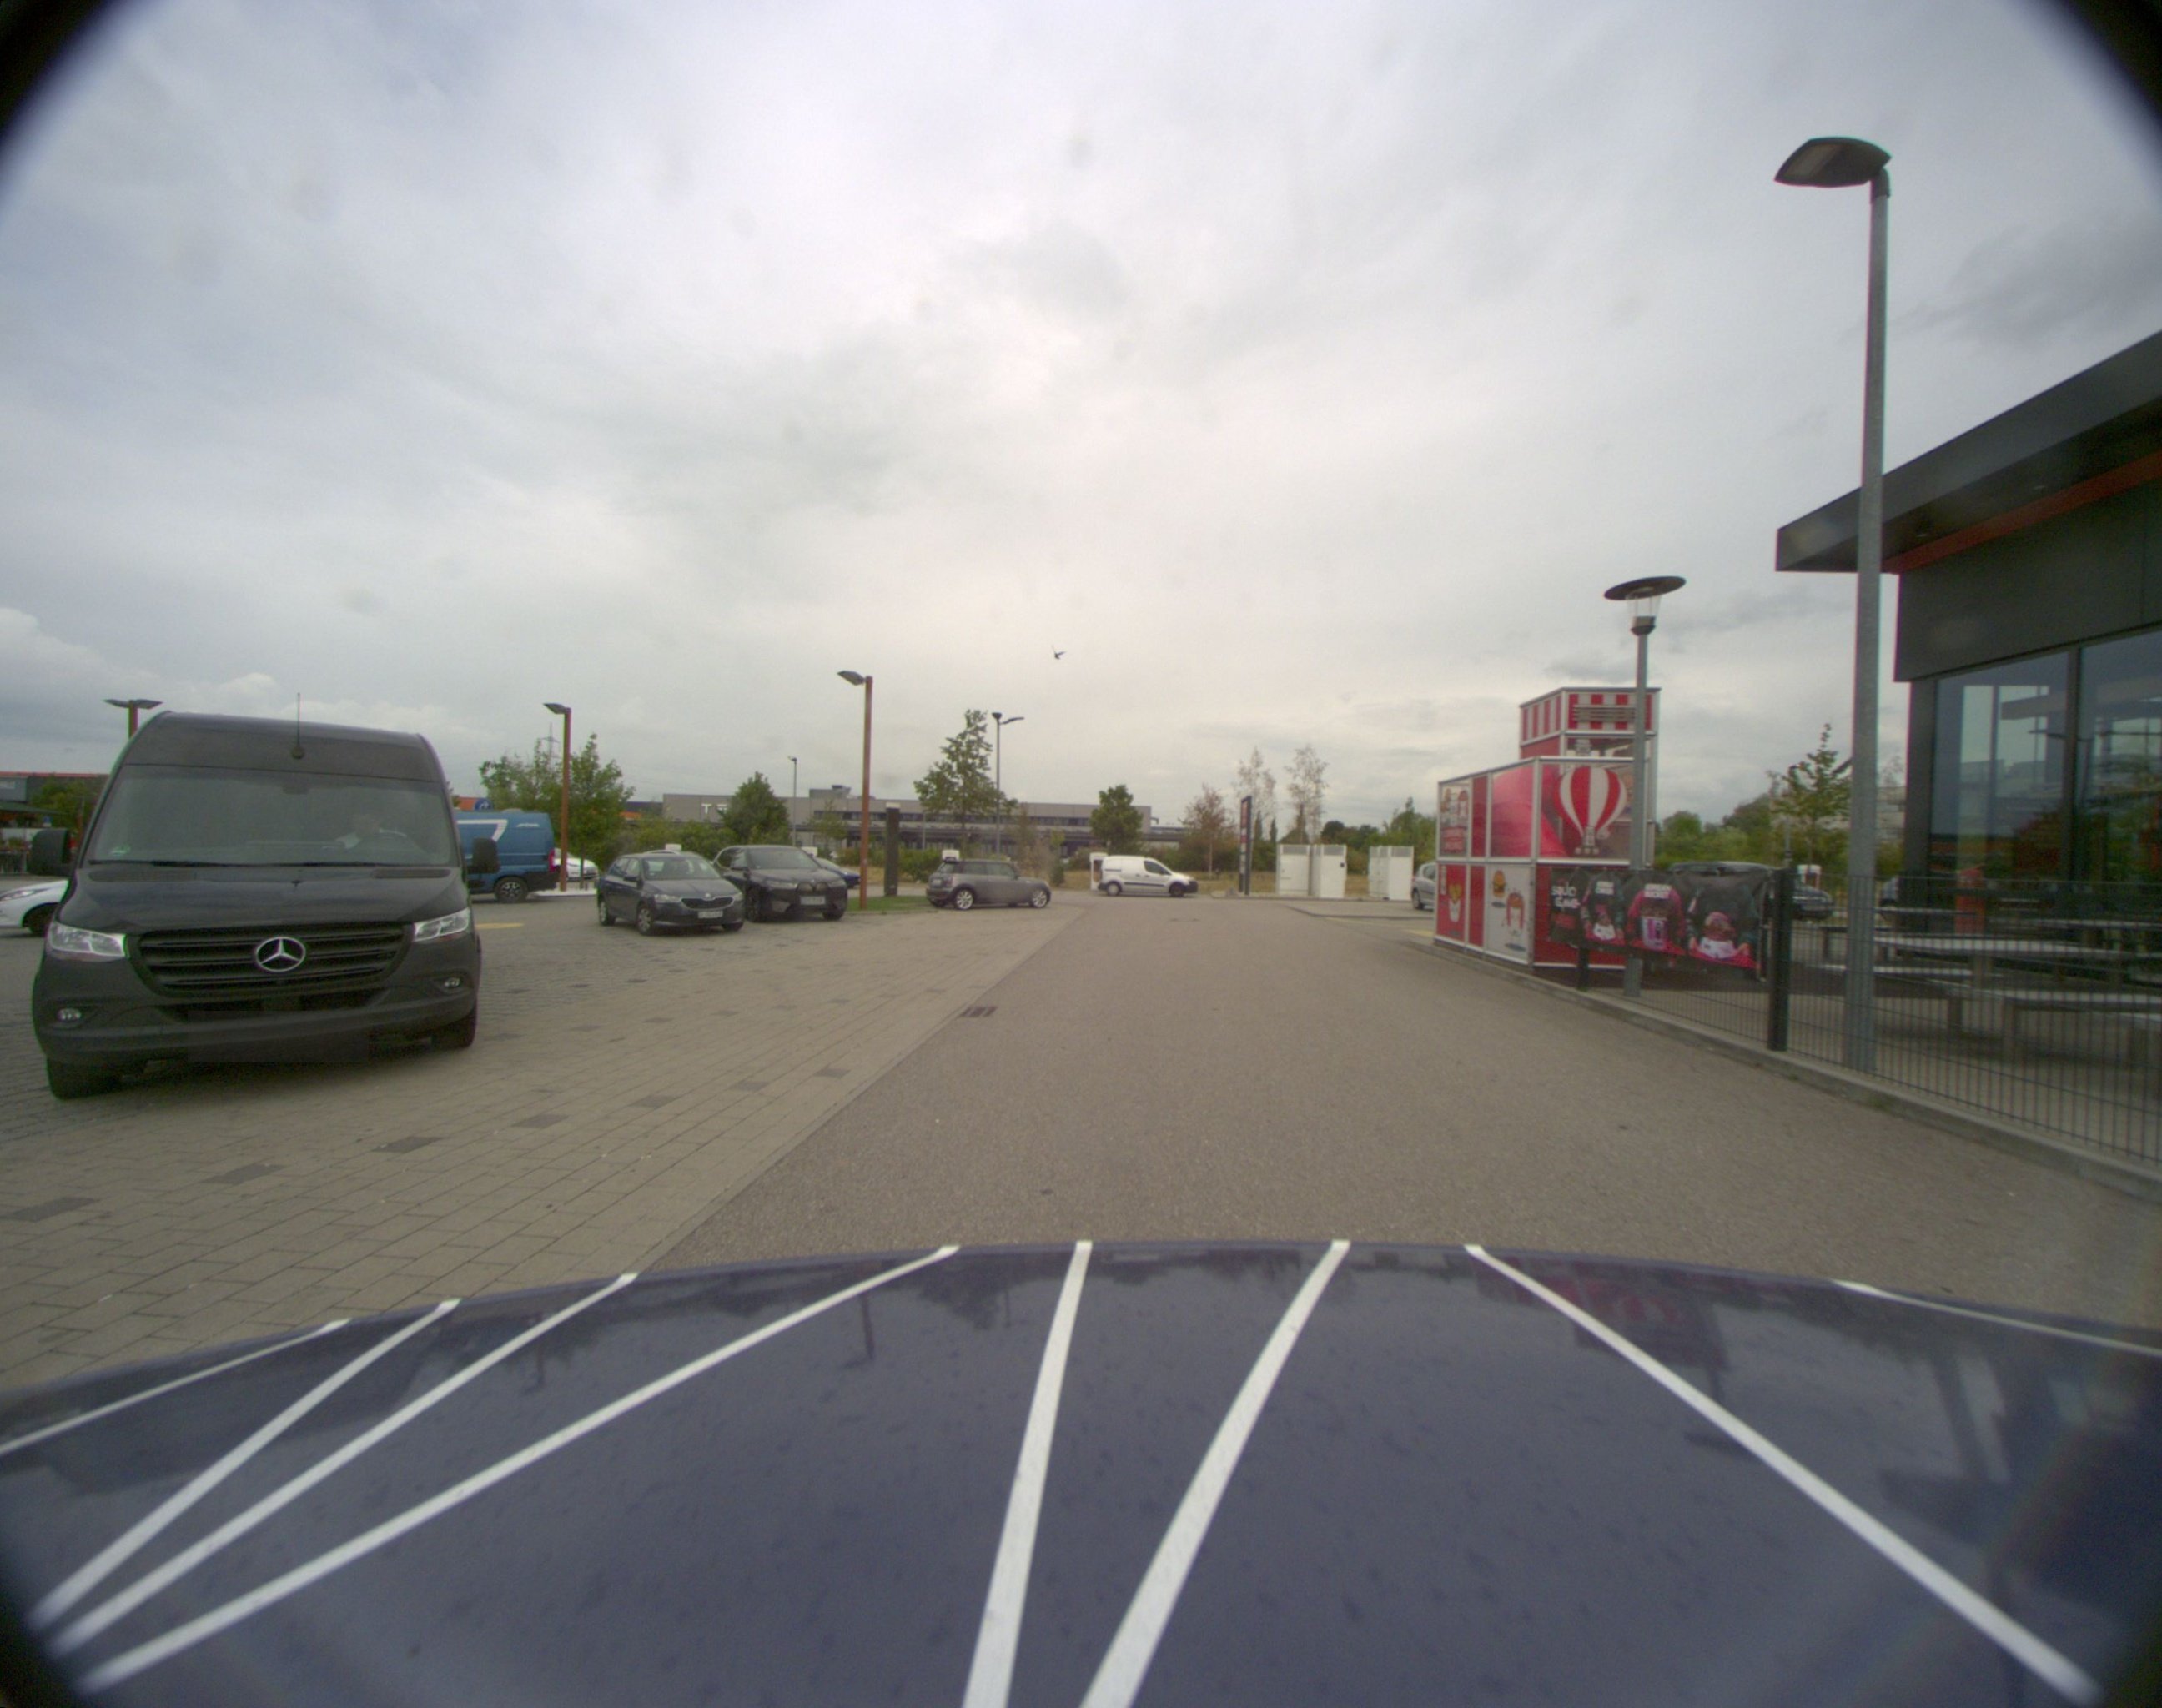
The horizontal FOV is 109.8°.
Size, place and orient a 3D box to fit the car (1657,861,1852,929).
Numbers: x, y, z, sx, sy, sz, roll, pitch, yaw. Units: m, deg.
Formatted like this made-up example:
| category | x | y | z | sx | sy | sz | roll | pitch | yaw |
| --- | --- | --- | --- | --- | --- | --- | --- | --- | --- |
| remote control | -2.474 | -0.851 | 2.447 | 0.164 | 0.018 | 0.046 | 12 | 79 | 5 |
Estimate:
| category | x | y | z | sx | sy | sz | roll | pitch | yaw |
| --- | --- | --- | --- | --- | --- | --- | --- | --- | --- |
| car | 18.285 | 1.041 | 20.955 | 1.583 | 1.607 | 4.488 | 1 | 0 | 4 |

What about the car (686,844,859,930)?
| category | x | y | z | sx | sy | sz | roll | pitch | yaw |
| --- | --- | --- | --- | --- | --- | --- | --- | --- | --- |
| car | -7.314 | 0.667 | 17.730 | 2.005 | 1.717 | 4.882 | 1 | -1 | -45 |

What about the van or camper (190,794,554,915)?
| category | x | y | z | sx | sy | sz | roll | pitch | yaw |
| --- | --- | --- | --- | --- | --- | --- | --- | --- | --- |
| van or camper | -17.684 | -0.013 | 19.639 | 6.586 | 2.685 | 2.166 | -1 | 1 | -37 |

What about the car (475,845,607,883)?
| category | x | y | z | sx | sy | sz | roll | pitch | yaw |
| --- | --- | --- | --- | --- | --- | --- | --- | --- | --- |
| car | -25.662 | 0.449 | 36.204 | 4.938 | 1.592 | 2.074 | 2 | 0 | 5 |

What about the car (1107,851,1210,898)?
| category | x | y | z | sx | sy | sz | roll | pitch | yaw |
| --- | --- | --- | --- | --- | --- | --- | --- | --- | --- |
| car | 3.367 | 0.891 | 33.530 | 4.332 | 1.876 | 1.947 | 2 | -1 | 4 |

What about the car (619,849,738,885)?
| category | x | y | z | sx | sy | sz | roll | pitch | yaw |
| --- | --- | --- | --- | --- | --- | --- | --- | --- | --- |
| car | -18.867 | 0.597 | 35.722 | 4.473 | 1.544 | 2.073 | 1 | 0 | 3 |

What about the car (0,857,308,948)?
| category | x | y | z | sx | sy | sz | roll | pitch | yaw |
| --- | --- | --- | --- | --- | --- | --- | --- | --- | --- |
| car | -16.791 | 0.781 | 13.931 | 3.581 | 1.445 | 1.837 | 0 | 0 | -43 |

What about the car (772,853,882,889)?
| category | x | y | z | sx | sy | sz | roll | pitch | yaw |
| --- | --- | --- | --- | --- | --- | --- | --- | --- | --- |
| car | -11.689 | 0.762 | 35.119 | 4.450 | 1.450 | 1.835 | 2 | 1 | 7 |

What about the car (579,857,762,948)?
| category | x | y | z | sx | sy | sz | roll | pitch | yaw |
| --- | --- | --- | --- | --- | --- | --- | --- | --- | --- |
| car | -7.903 | 0.808 | 14.487 | 3.988 | 1.403 | 1.836 | 1 | 1 | 42 |

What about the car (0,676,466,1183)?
| category | x | y | z | sx | sy | sz | roll | pitch | yaw |
| --- | --- | --- | --- | --- | --- | --- | --- | --- | --- |
| car | -7.154 | 0.292 | 6.910 | 2.077 | 2.539 | 6.991 | 0 | 2 | -42 |

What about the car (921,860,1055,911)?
| category | x | y | z | sx | sy | sz | roll | pitch | yaw |
| --- | --- | --- | --- | --- | --- | --- | --- | --- | --- |
| car | -2.684 | 0.908 | 22.226 | 3.535 | 1.368 | 1.605 | 2 | -1 | -36 |

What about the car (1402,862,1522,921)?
| category | x | y | z | sx | sy | sz | roll | pitch | yaw |
| --- | --- | --- | --- | --- | --- | --- | --- | --- | --- |
| car | 10.922 | 0.999 | 22.131 | 1.627 | 1.496 | 4.170 | 1 | 0 | 4 |
